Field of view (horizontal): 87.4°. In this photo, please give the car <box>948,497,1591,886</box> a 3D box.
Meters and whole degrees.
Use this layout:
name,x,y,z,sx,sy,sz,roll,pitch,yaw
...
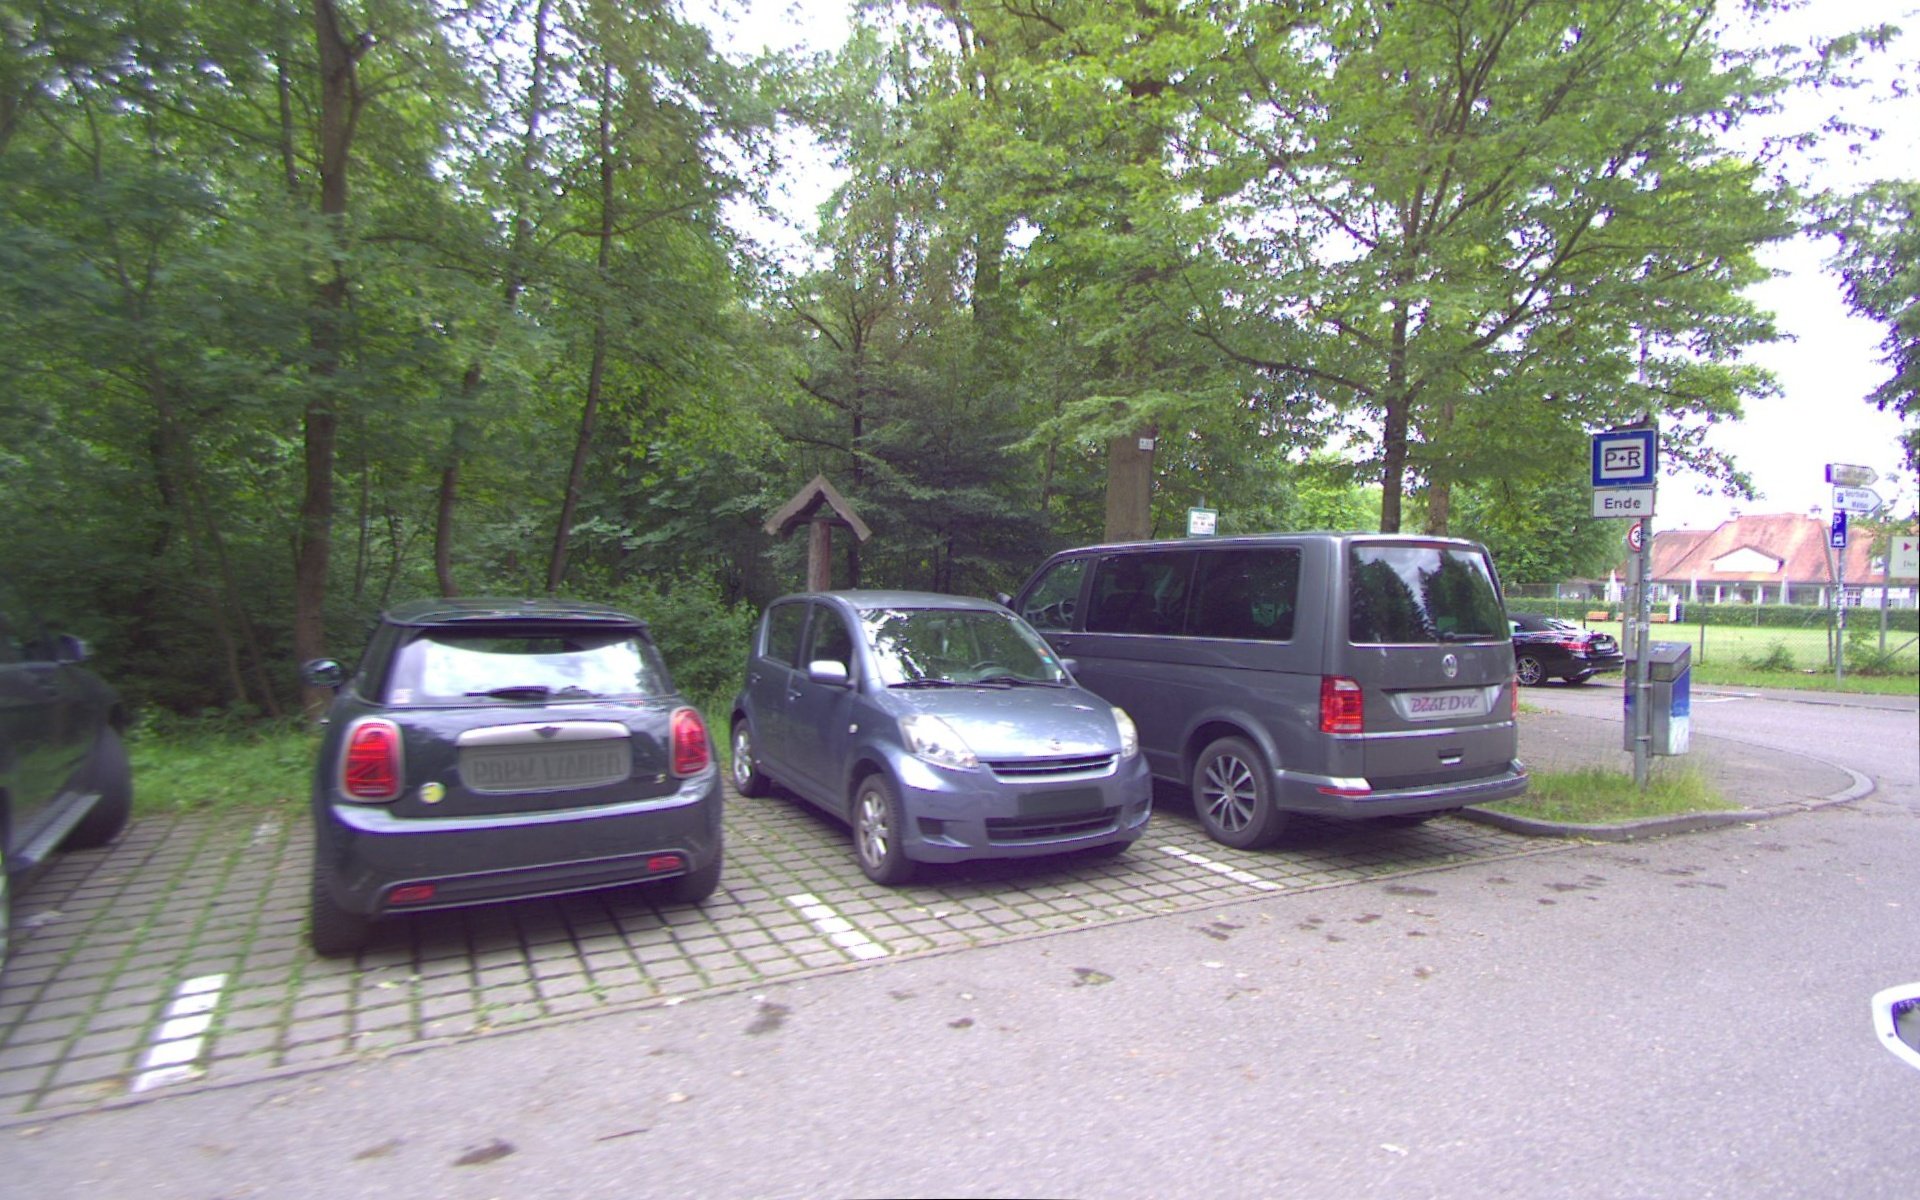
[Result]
name,x,y,z,sx,sy,sz,roll,pitch,yaw
car,1.890,0.459,7.580,1.870,2.004,4.477,2,0,-32

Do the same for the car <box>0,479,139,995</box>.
name,x,y,z,sx,sy,sz,roll,pitch,yaw
car,-4.606,0.437,3.827,1.804,1.789,3.964,1,1,-32

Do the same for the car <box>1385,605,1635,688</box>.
name,x,y,z,sx,sy,sz,roll,pitch,yaw
car,11.244,0.885,20.860,1.750,1.514,4.294,-1,-1,-29

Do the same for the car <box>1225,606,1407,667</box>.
name,x,y,z,sx,sy,sz,roll,pitch,yaw
car,8.843,0.877,25.288,1.672,1.377,4.184,-1,-1,-32

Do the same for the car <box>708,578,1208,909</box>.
name,x,y,z,sx,sy,sz,roll,pitch,yaw
car,-0.319,0.662,6.761,1.787,1.533,3.798,1,0,-28

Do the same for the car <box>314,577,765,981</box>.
name,x,y,z,sx,sy,sz,roll,pitch,yaw
car,-2.617,0.634,5.832,1.700,1.449,3.967,1,1,-30
